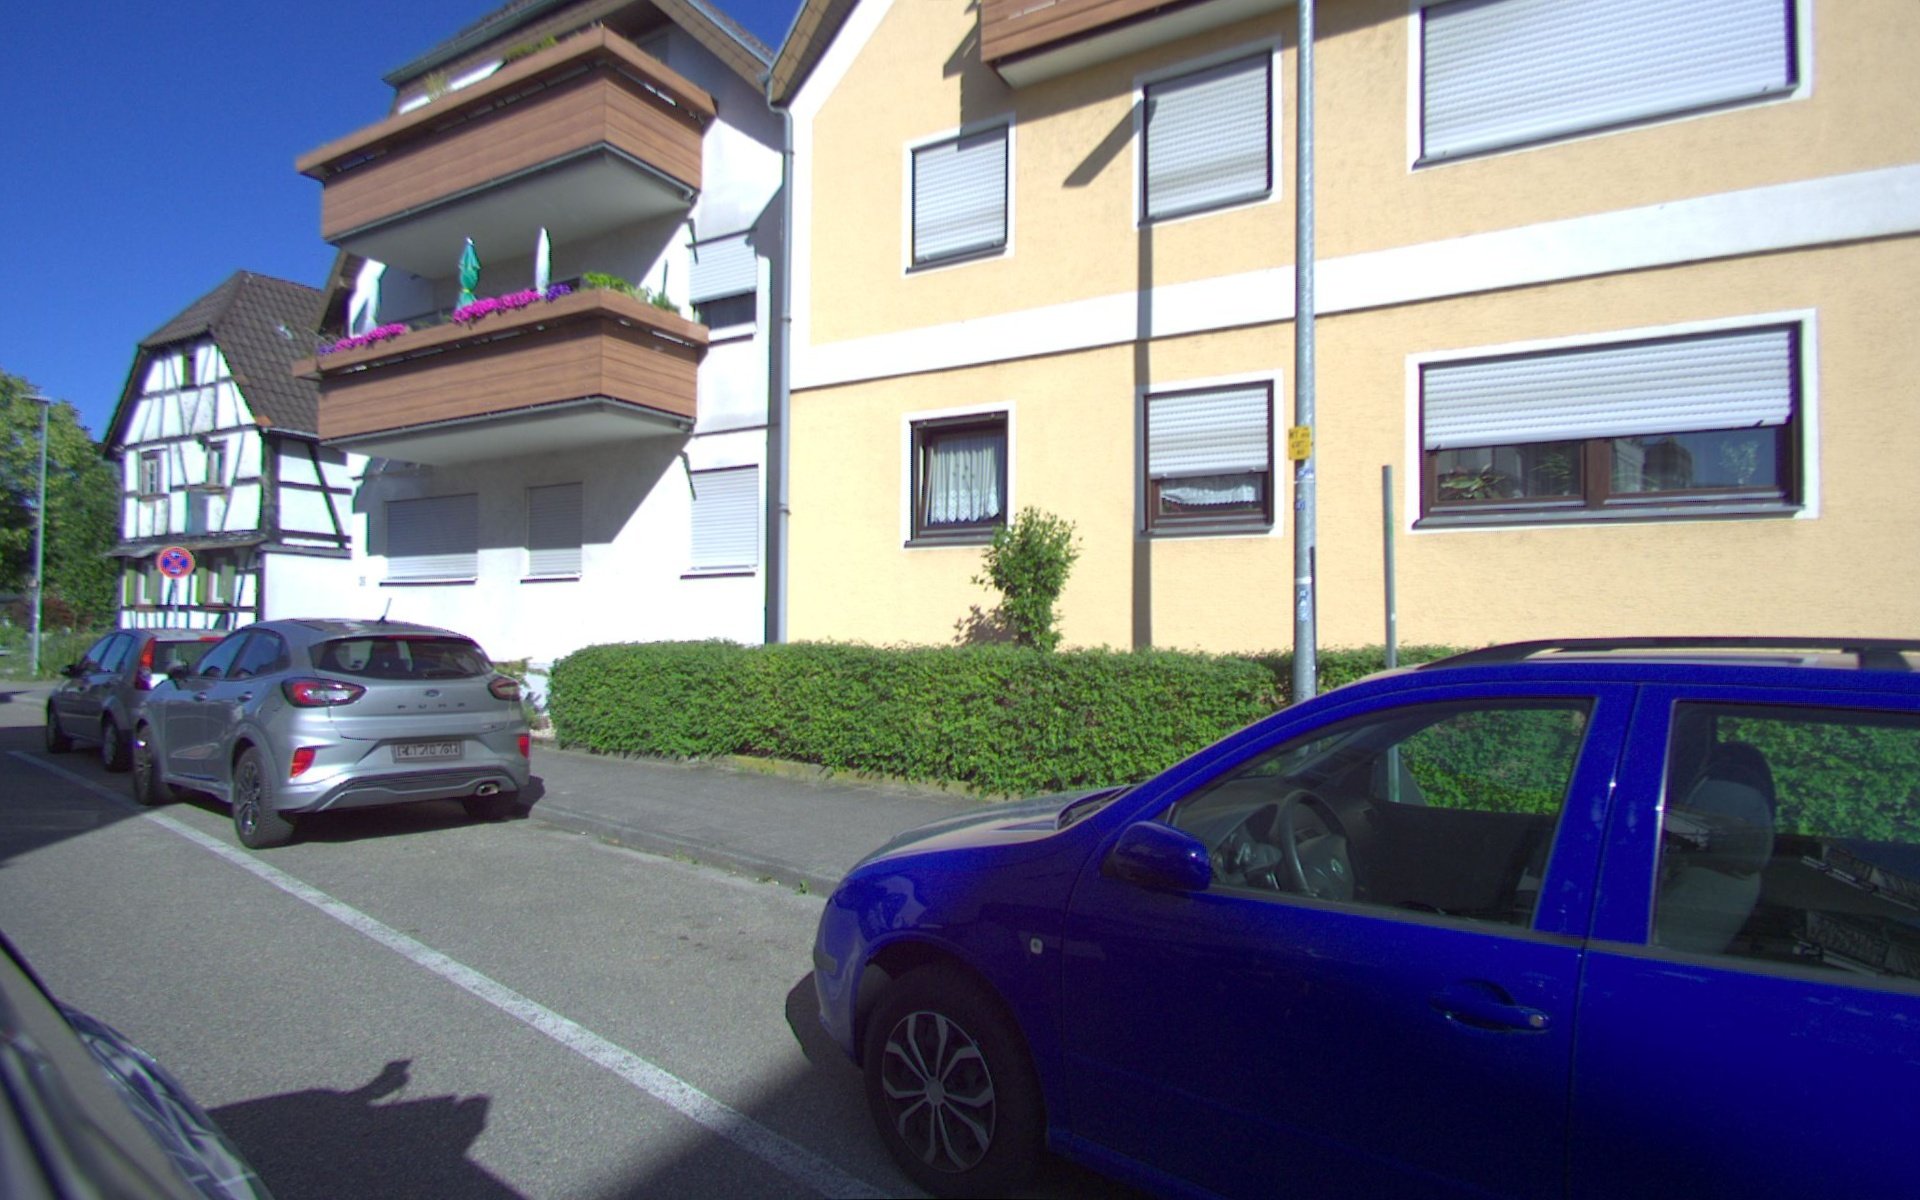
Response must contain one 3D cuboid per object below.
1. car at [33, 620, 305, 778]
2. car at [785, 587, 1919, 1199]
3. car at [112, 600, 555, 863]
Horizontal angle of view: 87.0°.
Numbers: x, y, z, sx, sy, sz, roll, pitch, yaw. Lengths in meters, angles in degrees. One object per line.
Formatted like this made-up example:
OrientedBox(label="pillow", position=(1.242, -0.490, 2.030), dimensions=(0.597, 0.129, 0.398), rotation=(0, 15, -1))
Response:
OrientedBox(label="car", position=(-8.919, 1.002, 11.328), dimensions=(3.612, 1.488, 1.607), rotation=(-2, -3, 39))
OrientedBox(label="car", position=(1.521, 0.745, 2.148), dimensions=(3.954, 1.450, 1.601), rotation=(-2, -3, 41))
OrientedBox(label="car", position=(-5.069, 0.856, 7.995), dimensions=(3.996, 1.568, 1.741), rotation=(-2, -3, 39))
